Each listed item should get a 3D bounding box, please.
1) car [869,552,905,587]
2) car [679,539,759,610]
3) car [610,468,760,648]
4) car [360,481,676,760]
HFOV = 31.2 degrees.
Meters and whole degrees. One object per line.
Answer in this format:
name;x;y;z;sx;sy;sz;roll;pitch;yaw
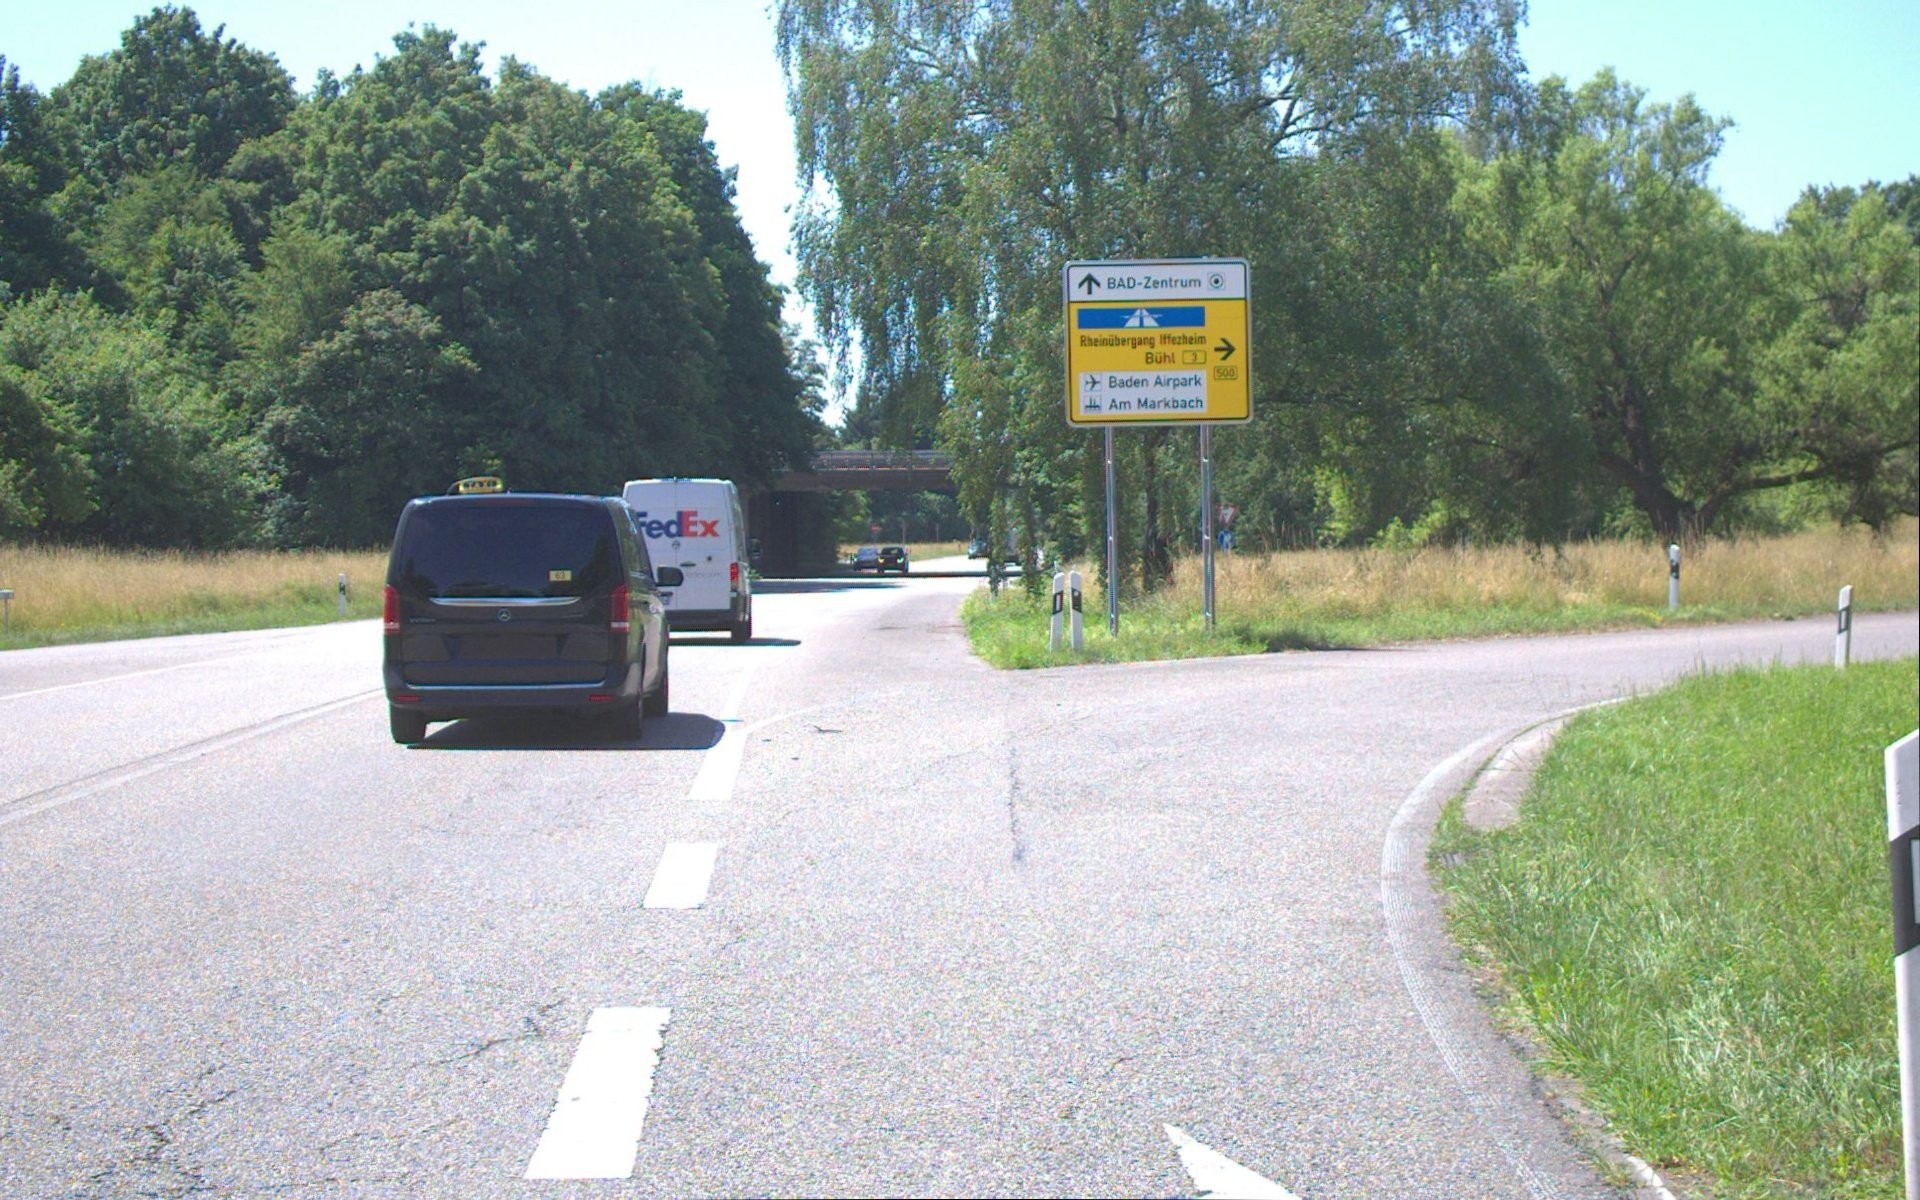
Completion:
car;-4.369;-1.831;205.053;1.993;2.007;4.000;2;1;-2
car;-7.160;-0.770;102.453;1.993;2.007;4.000;2;1;0
car;-4.319;-0.667;54.544;2.078;2.693;4.667;1;1;-2
car;-3.355;0.110;27.015;1.993;1.946;5.005;1;1;-2
